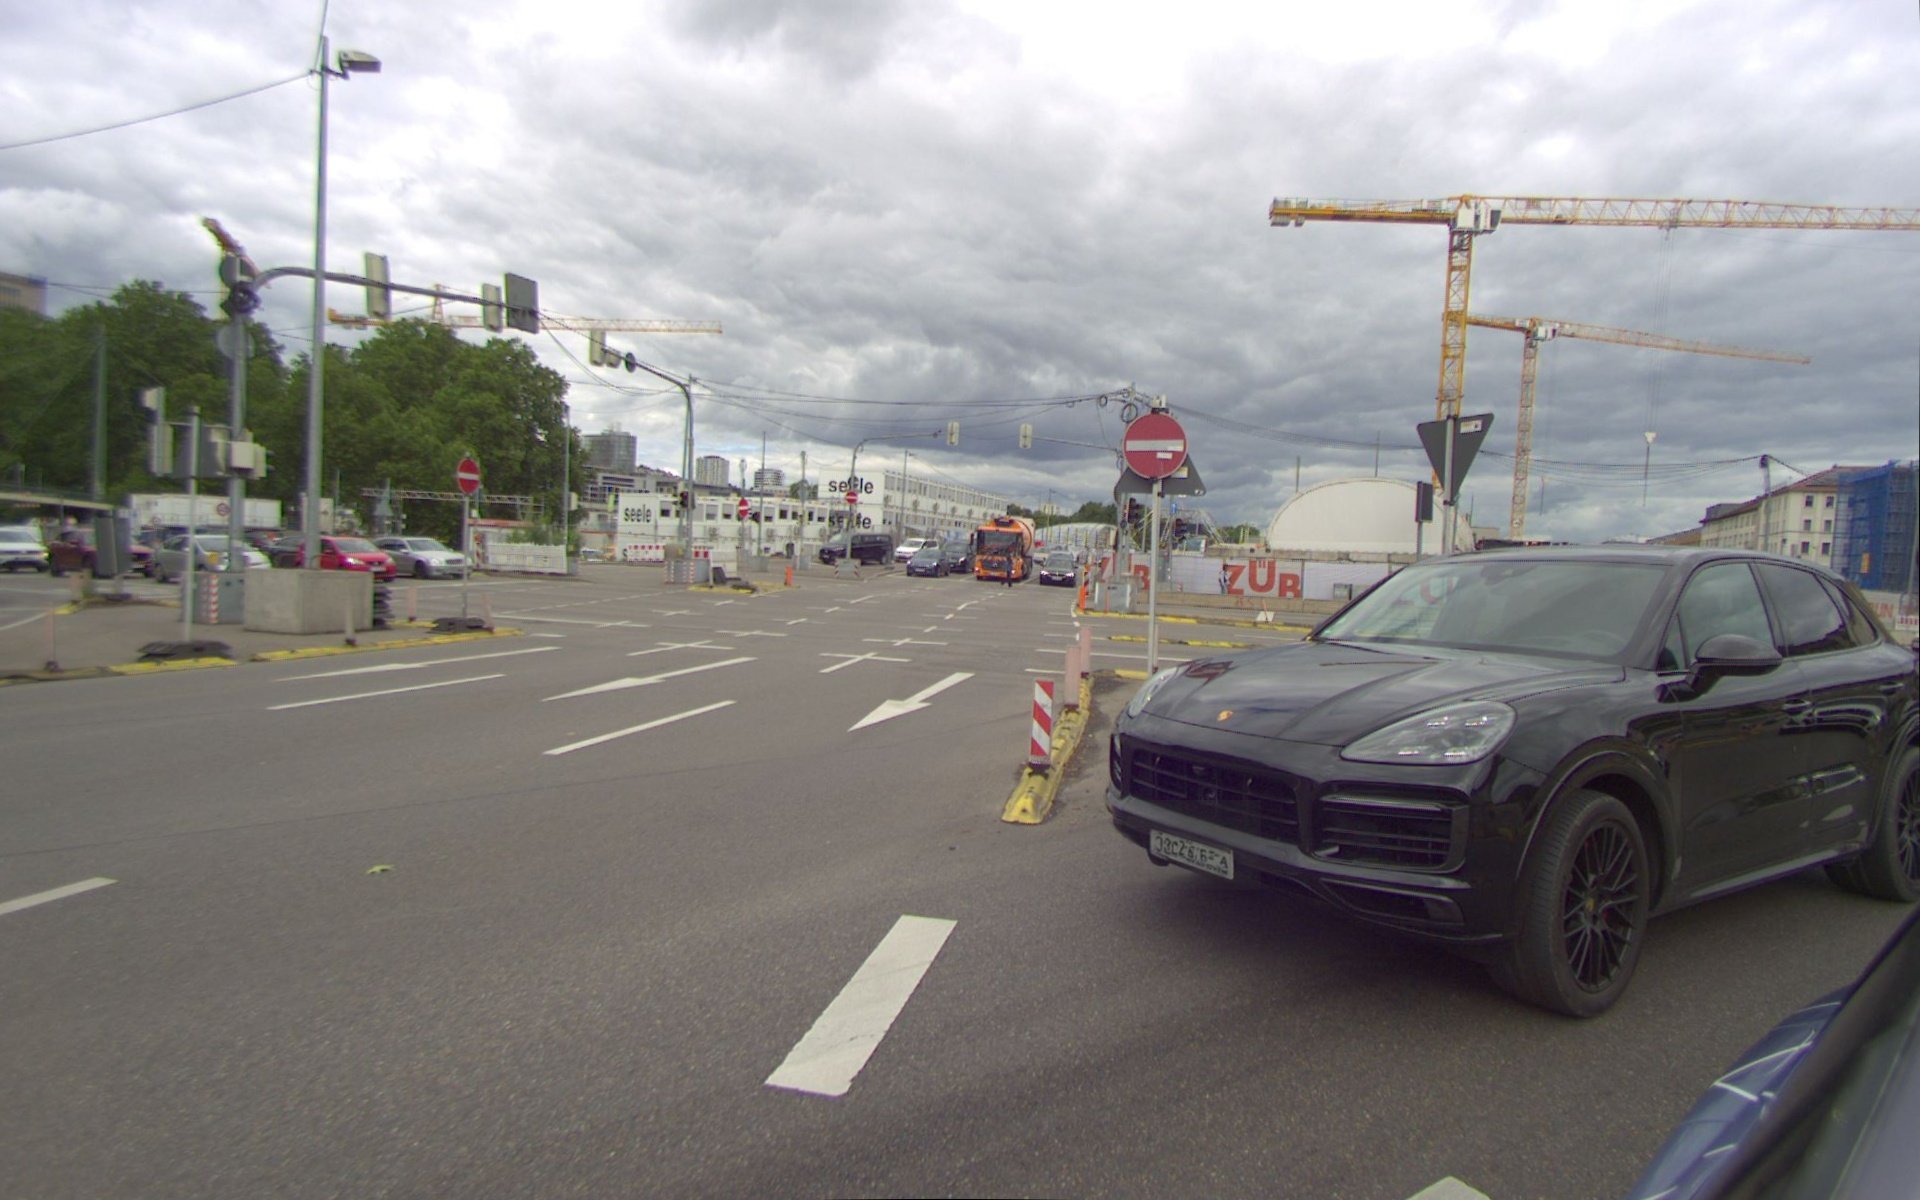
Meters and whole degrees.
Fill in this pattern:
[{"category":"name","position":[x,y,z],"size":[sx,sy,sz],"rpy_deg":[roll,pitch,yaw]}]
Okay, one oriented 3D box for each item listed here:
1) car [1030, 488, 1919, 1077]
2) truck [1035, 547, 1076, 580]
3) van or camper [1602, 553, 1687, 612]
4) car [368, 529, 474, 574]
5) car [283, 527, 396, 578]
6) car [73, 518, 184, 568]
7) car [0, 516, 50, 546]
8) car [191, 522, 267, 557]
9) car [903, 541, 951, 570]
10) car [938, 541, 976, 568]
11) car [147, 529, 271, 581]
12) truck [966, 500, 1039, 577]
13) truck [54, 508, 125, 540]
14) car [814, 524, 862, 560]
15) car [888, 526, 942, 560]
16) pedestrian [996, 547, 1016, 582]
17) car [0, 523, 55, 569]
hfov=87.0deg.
[{"category":"car","position":[2.786,0.510,4.795],"size":[4.514,1.668,1.960],"rpy_deg":[1,2,-29]},{"category":"truck","position":[5.002,-1.883,52.724],"size":[1.797,1.559,3.751],"rpy_deg":[3,2,10]},{"category":"van or camper","position":[28.351,-0.783,41.886],"size":[3.934,2.253,1.996],"rpy_deg":[-2,5,-44]},{"category":"car","position":[-18.795,-1.726,35.287],"size":[3.417,1.452,1.678],"rpy_deg":[3,5,29]},{"category":"car","position":[-20.008,-1.554,32.633],"size":[3.417,1.452,1.675],"rpy_deg":[4,4,29]},{"category":"car","position":[-27.864,-1.911,33.926],"size":[3.415,1.453,1.650],"rpy_deg":[4,2,27]},{"category":"car","position":[-57.217,-4.195,61.372],"size":[3.605,1.708,1.750],"rpy_deg":[3,3,25]},{"category":"car","position":[-38.203,-3.153,52.899],"size":[3.613,1.687,1.924],"rpy_deg":[4,3,30]},{"category":"car","position":[-1.749,-2.405,54.560],"size":[1.758,1.452,4.059],"rpy_deg":[3,3,9]},{"category":"car","position":[-0.151,-2.712,60.193],"size":[1.625,1.452,3.611],"rpy_deg":[3,3,9]},{"category":"car","position":[-22.558,-1.381,30.391],"size":[3.414,1.452,1.651],"rpy_deg":[2,4,27]},{"category":"truck","position":[2.499,-3.371,56.002],"size":[2.863,3.718,9.009],"rpy_deg":[4,3,9]},{"category":"truck","position":[-54.399,-4.777,63.244],"size":[3.974,1.702,1.923],"rpy_deg":[5,2,26]},{"category":"car","position":[-7.516,-3.585,62.806],"size":[1.967,2.038,3.993],"rpy_deg":[4,2,7]},{"category":"car","position":[-3.052,-3.859,69.067],"size":[1.979,2.038,4.131],"rpy_deg":[5,2,24]},{"category":"pedestrian","position":[2.168,-1.673,47.373],"size":[0.836,1.611,0.622],"rpy_deg":[2,2,7]},{"category":"car","position":[-35.196,-2.010,37.007],"size":[3.961,1.587,1.823],"rpy_deg":[3,4,27]}]
